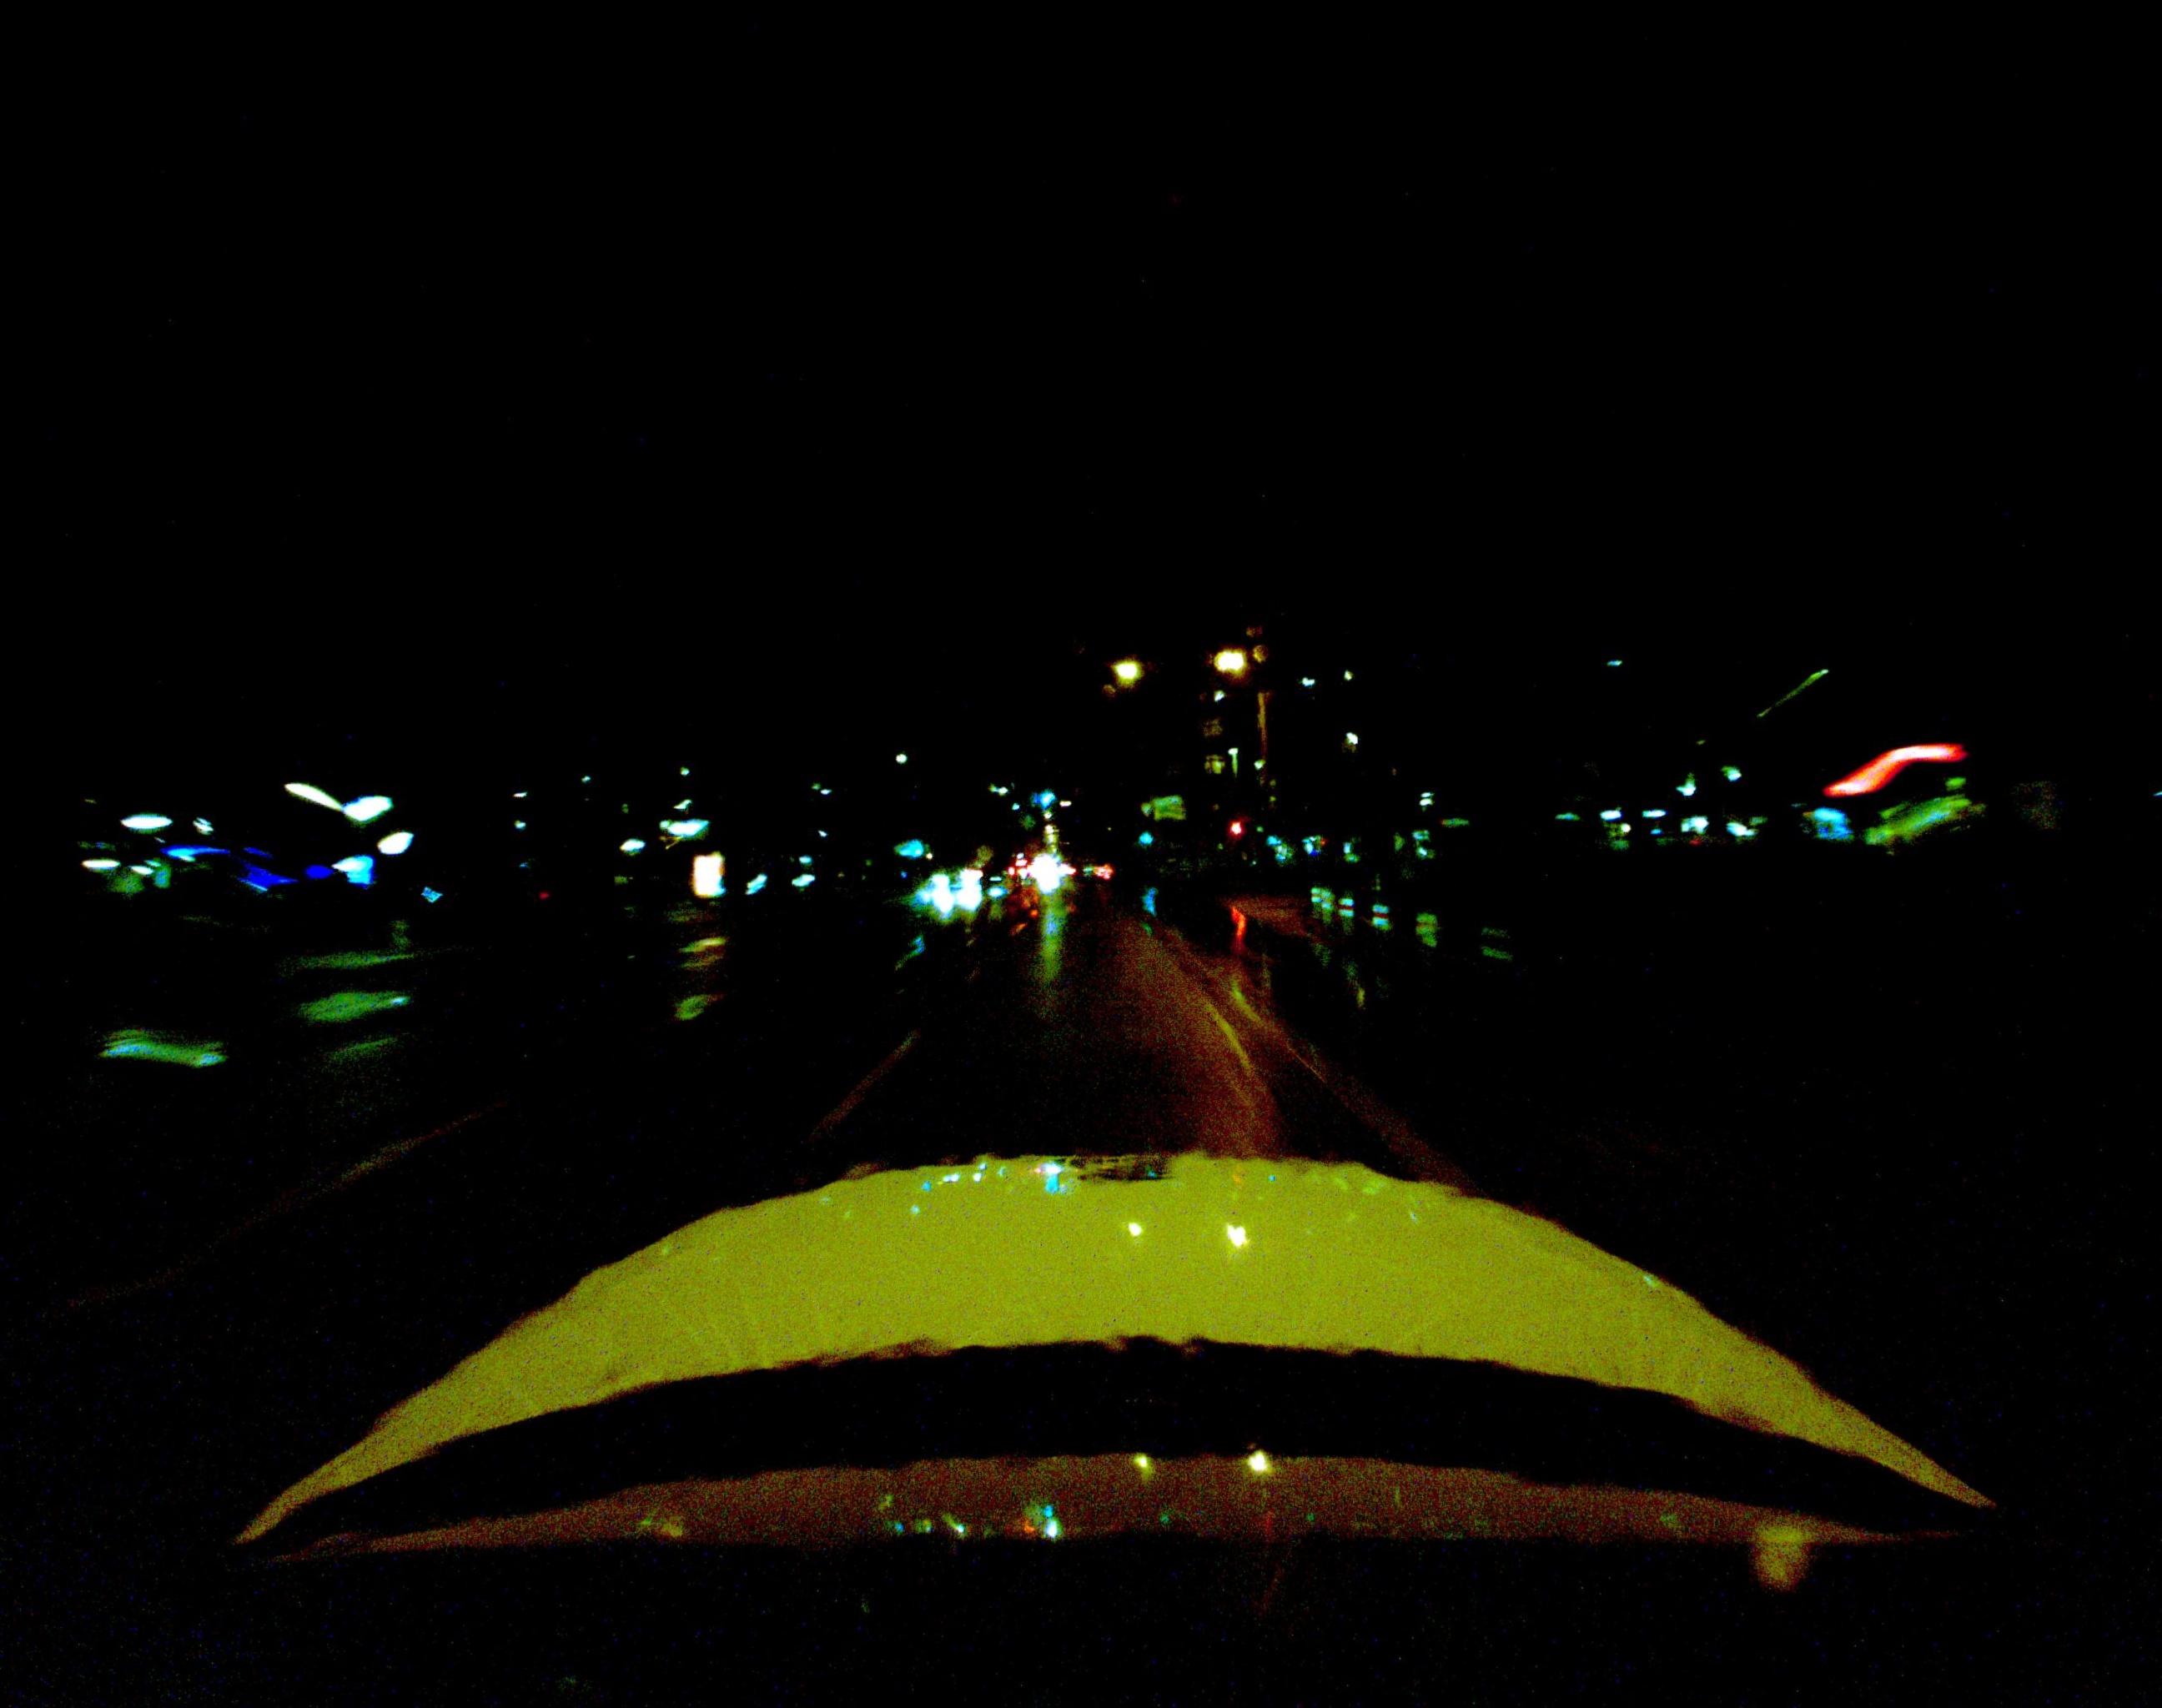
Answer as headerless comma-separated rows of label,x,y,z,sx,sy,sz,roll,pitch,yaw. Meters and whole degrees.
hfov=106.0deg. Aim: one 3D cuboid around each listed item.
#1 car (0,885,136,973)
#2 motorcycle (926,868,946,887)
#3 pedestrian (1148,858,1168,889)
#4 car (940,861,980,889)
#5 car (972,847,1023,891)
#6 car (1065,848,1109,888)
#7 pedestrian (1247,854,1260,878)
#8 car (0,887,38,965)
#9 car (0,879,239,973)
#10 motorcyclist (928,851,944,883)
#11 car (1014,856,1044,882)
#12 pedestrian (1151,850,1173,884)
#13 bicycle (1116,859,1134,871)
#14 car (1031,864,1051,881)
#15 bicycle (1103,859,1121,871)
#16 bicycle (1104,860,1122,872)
car,-20.196,1.384,14.572,1.699,1.520,3.939,-2,-1,22
motorcycle,-9.141,1.486,51.371,0.698,1.138,2.178,-2,-1,4
pedestrian,4.632,1.194,49.140,1.102,1.826,0.852,-2,-1,4
car,-6.961,1.176,47.166,1.849,1.499,4.763,-2,0,-4
car,-4.162,0.749,41.357,2.028,1.953,5.197,-4,0,-1
car,0.270,0.773,44.307,2.162,1.972,4.298,-2,-1,-2
pedestrian,15.325,1.036,72.317,0.968,2.013,1.018,-3,1,8
car,-22.723,1.451,15.022,1.699,1.520,3.939,-2,-1,22
car,-17.682,1.213,14.100,1.699,1.432,3.939,-2,-1,22
motorcyclist,-9.155,0.813,51.390,0.690,2.014,0.983,-2,-1,4
car,-3.310,0.960,52.067,1.814,1.542,4.720,-2,-1,-3
pedestrian,4.543,0.732,45.663,1.103,1.826,0.851,-2,-1,2
bicycle,5.032,1.254,93.088,1.895,1.252,0.709,-4,-2,-7
car,-3.938,1.840,79.452,1.705,1.542,3.979,-2,-1,-6
bicycle,3.565,1.305,94.423,1.895,1.252,0.594,-4,-2,-7
bicycle,3.687,1.403,93.729,1.895,1.252,0.594,-4,-2,-7
